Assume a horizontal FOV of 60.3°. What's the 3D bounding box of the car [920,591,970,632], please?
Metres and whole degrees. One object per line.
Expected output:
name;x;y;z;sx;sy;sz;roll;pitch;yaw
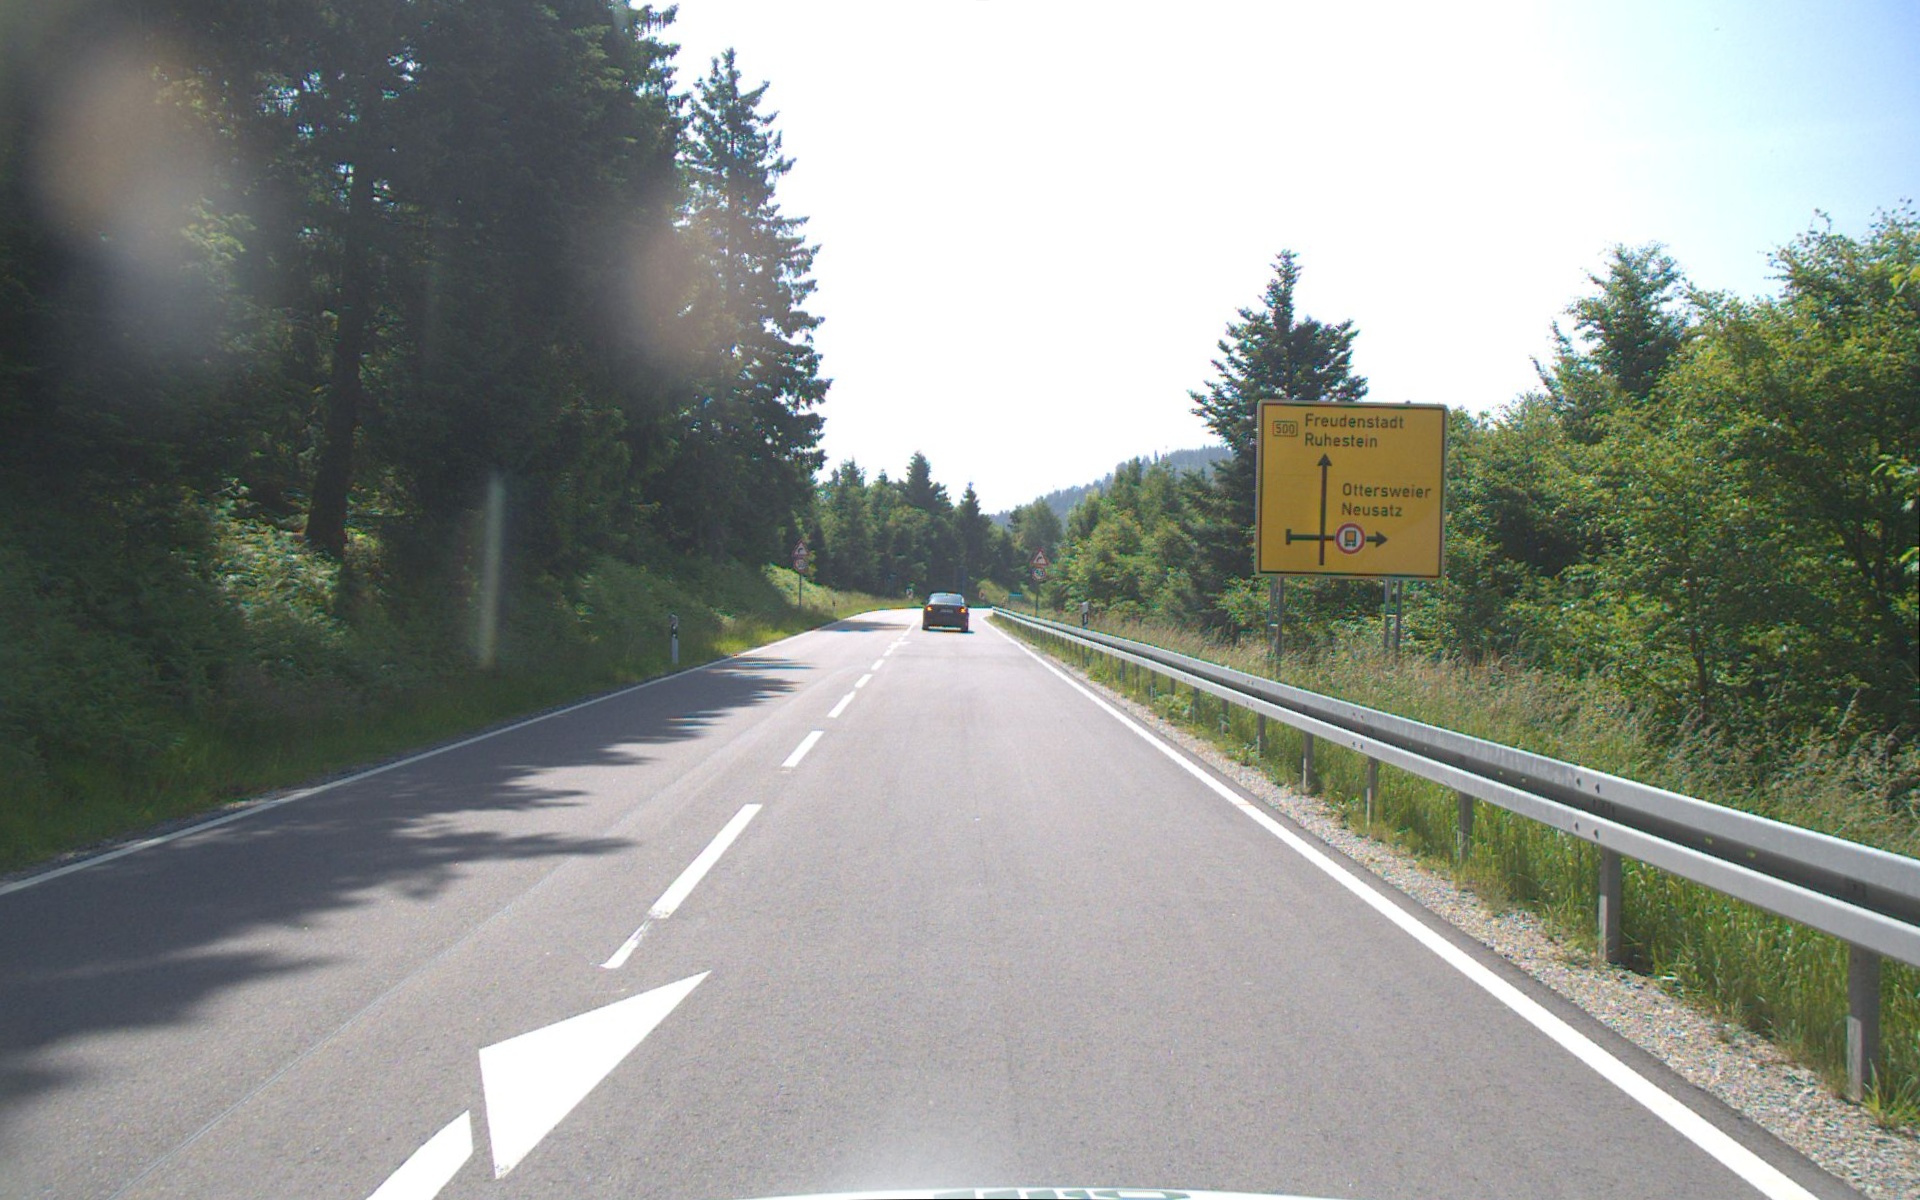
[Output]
car;-0.557;0.433;64.058;1.739;1.467;3.709;2;0;1
